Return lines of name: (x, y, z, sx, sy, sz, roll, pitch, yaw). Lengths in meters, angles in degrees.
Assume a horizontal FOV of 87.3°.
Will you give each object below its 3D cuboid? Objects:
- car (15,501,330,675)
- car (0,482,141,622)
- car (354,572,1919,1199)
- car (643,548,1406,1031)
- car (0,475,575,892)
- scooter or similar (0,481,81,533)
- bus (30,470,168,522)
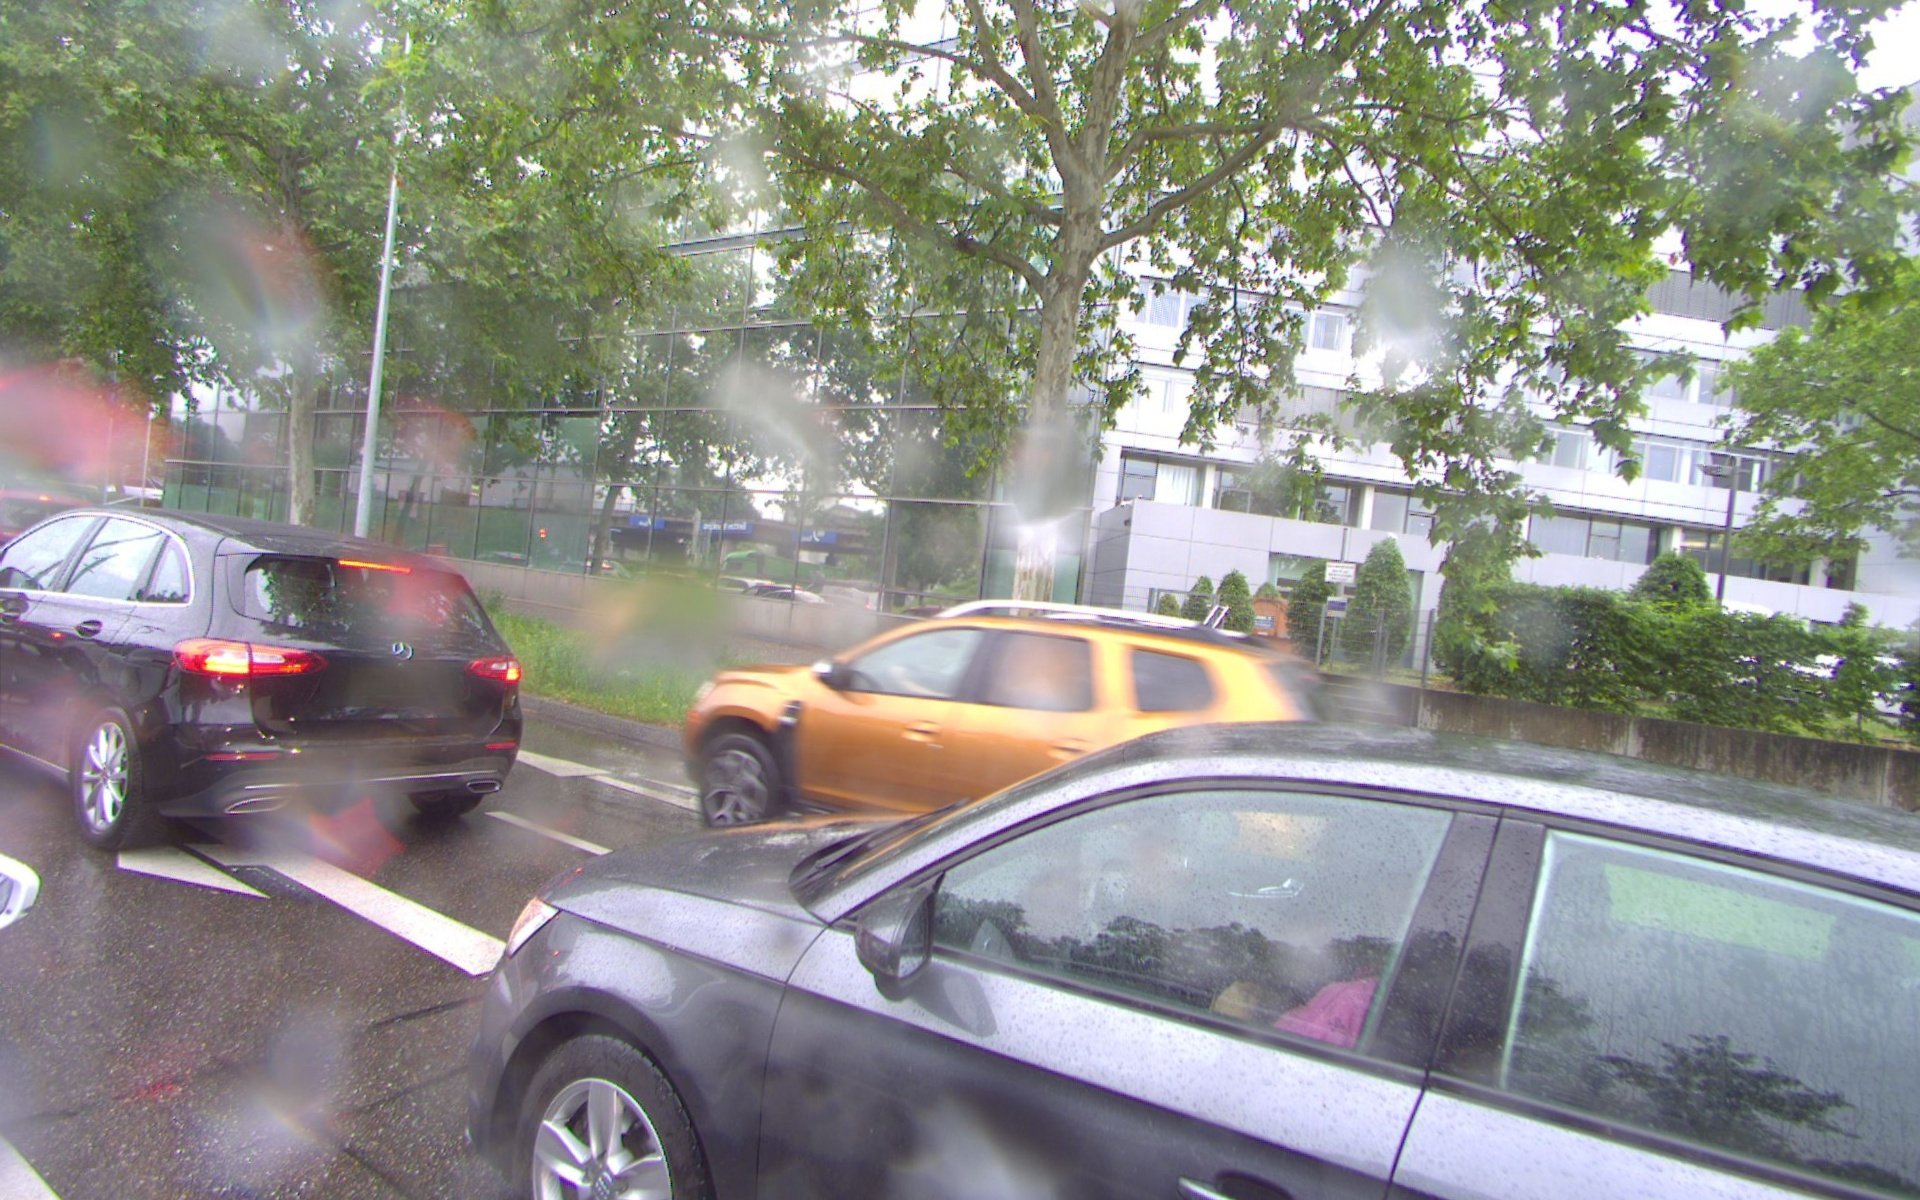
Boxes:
car: (-8.867, -0.149, 11.297, 3.332, 1.480, 1.572, 7, -1, 31)
car: (-14.066, -0.801, 14.796, 4.201, 1.714, 1.714, 6, -2, 32)
car: (0.667, 0.912, 2.098, 3.718, 1.445, 1.679, 7, -1, 31)
car: (0.254, 0.836, 6.025, 4.079, 1.704, 1.679, 8, -2, 32)
car: (-4.337, 0.248, 5.758, 4.022, 1.573, 1.751, 7, -1, 31)
scooter or similar: (-54.522, -5.503, 58.146, 5.228, 2.476, 1.893, 7, 0, -9)
bus: (-82.874, -9.907, 97.279, 2.437, 3.465, 12.009, 7, 0, 2)
